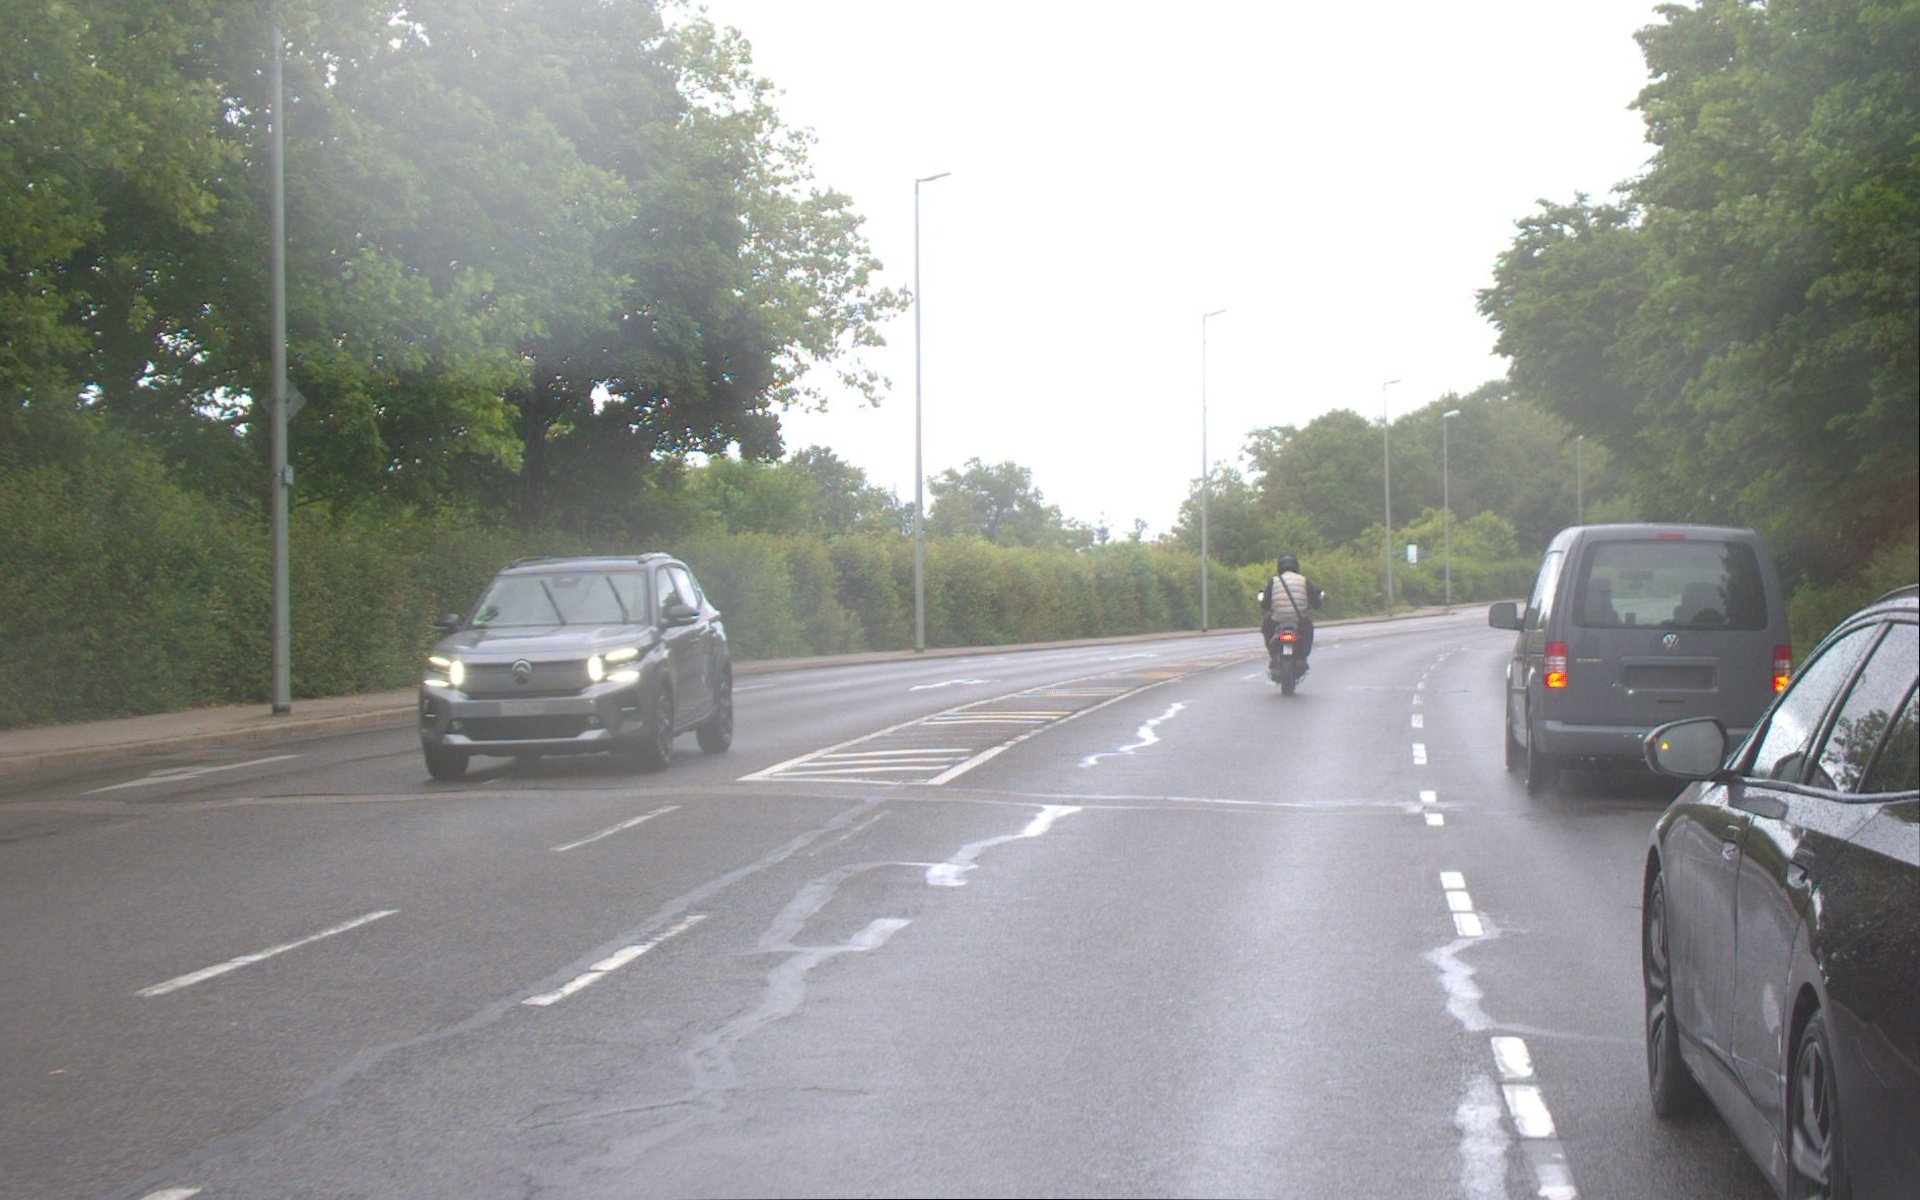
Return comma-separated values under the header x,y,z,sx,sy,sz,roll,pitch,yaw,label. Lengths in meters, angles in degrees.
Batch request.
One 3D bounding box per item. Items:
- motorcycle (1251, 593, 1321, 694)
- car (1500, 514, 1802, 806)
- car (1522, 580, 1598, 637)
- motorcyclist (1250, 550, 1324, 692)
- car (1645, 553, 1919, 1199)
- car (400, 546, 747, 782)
x,y,z,sx,sy,sz,roll,pitch,yaw,label
3.824,0.498,40.274,0.741,1.115,1.426,1,2,8,motorcycle
4.696,0.327,23.806,1.767,1.803,3.904,1,2,8,car
16.682,0.220,95.472,2.016,1.410,4.485,1,2,11,car
3.830,0.235,40.218,0.845,1.641,0.467,0,1,8,motorcyclist
2.450,0.685,7.122,1.765,1.531,3.672,1,1,8,car
-2.808,0.421,25.763,1.795,1.597,3.731,-1,1,6,car
